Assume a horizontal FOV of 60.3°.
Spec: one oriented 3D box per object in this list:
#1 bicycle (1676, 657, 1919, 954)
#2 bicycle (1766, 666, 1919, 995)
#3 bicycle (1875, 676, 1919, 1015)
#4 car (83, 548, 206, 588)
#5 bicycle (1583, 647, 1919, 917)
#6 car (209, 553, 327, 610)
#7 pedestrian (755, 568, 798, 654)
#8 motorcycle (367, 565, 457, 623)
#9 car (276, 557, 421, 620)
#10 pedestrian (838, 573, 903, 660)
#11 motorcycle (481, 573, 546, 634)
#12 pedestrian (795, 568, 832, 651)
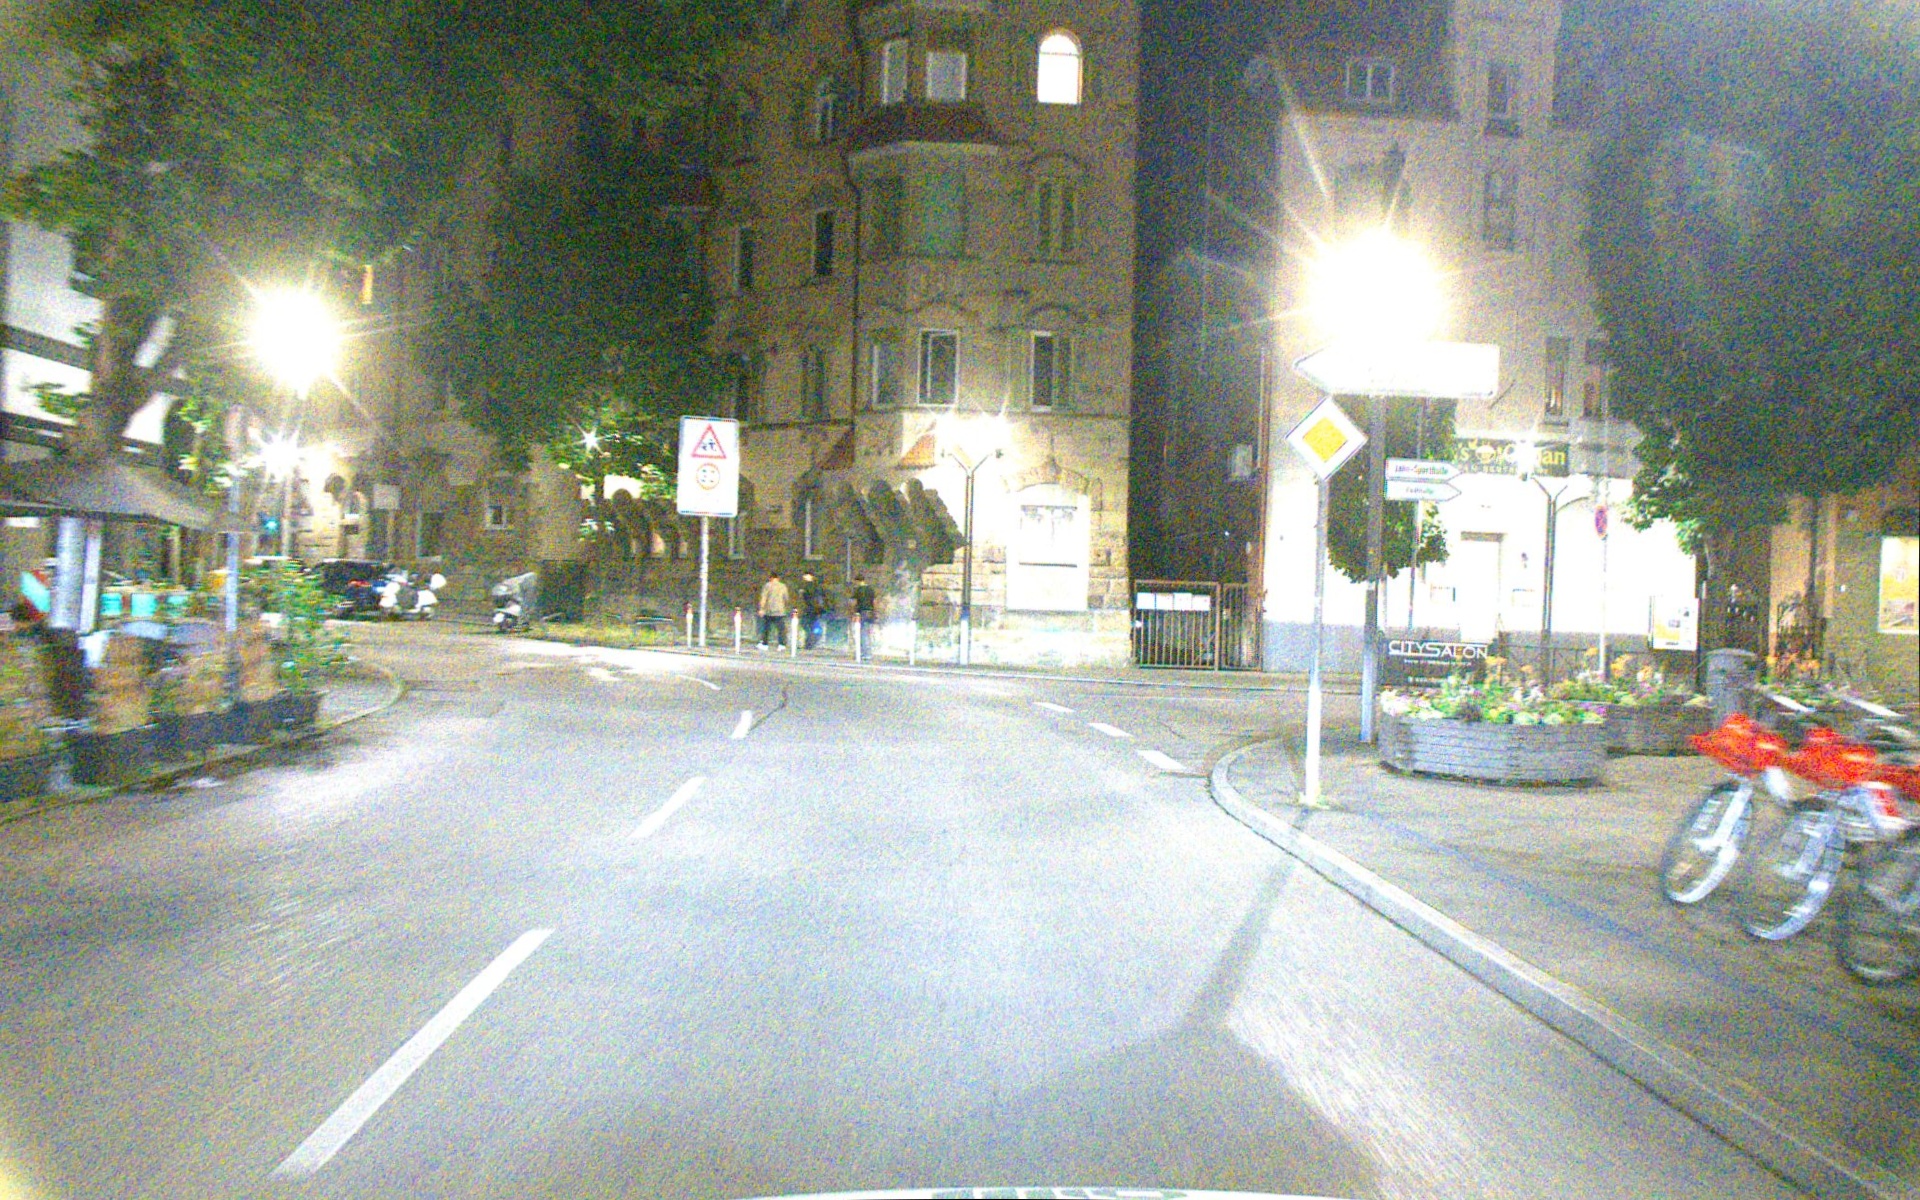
[{"bbox_3d":[4.086,0.873,7.120,1.737,1.171,0.613,2,0,-6],"label":"bicycle"},{"bbox_3d":[4.147,0.886,6.441,1.737,1.171,0.581,2,0,-6],"label":"bicycle"},{"bbox_3d":[4.253,0.900,5.795,1.735,1.171,0.582,2,0,0],"label":"bicycle"},{"bbox_3d":[-32.250,-1.248,65.493,1.818,1.447,4.005,1,0,40],"label":"car"},{"bbox_3d":[4.021,0.856,7.942,1.748,1.171,0.759,2,0,-6],"label":"bicycle"},{"bbox_3d":[-19.865,-0.550,47.431,3.933,1.479,1.730,3,1,45],"label":"car"},{"bbox_3d":[-3.791,0.219,34.188,0.693,1.738,0.505,2,1,43],"label":"pedestrian"},{"bbox_3d":[-14.002,-0.174,42.304,0.905,1.430,2.054,2,2,33],"label":"motorcycle"},{"bbox_3d":[-16.281,-0.330,43.967,4.387,1.527,1.728,2,1,41],"label":"car"},{"bbox_3d":[-1.771,0.320,32.601,0.945,1.659,0.808,2,0,29],"label":"pedestrian"},{"bbox_3d":[-10.401,0.071,38.604,0.744,1.376,1.946,2,1,7],"label":"motorcycle"},{"bbox_3d":[-3.129,0.208,35.316,0.561,1.738,0.475,2,1,43],"label":"pedestrian"}]
